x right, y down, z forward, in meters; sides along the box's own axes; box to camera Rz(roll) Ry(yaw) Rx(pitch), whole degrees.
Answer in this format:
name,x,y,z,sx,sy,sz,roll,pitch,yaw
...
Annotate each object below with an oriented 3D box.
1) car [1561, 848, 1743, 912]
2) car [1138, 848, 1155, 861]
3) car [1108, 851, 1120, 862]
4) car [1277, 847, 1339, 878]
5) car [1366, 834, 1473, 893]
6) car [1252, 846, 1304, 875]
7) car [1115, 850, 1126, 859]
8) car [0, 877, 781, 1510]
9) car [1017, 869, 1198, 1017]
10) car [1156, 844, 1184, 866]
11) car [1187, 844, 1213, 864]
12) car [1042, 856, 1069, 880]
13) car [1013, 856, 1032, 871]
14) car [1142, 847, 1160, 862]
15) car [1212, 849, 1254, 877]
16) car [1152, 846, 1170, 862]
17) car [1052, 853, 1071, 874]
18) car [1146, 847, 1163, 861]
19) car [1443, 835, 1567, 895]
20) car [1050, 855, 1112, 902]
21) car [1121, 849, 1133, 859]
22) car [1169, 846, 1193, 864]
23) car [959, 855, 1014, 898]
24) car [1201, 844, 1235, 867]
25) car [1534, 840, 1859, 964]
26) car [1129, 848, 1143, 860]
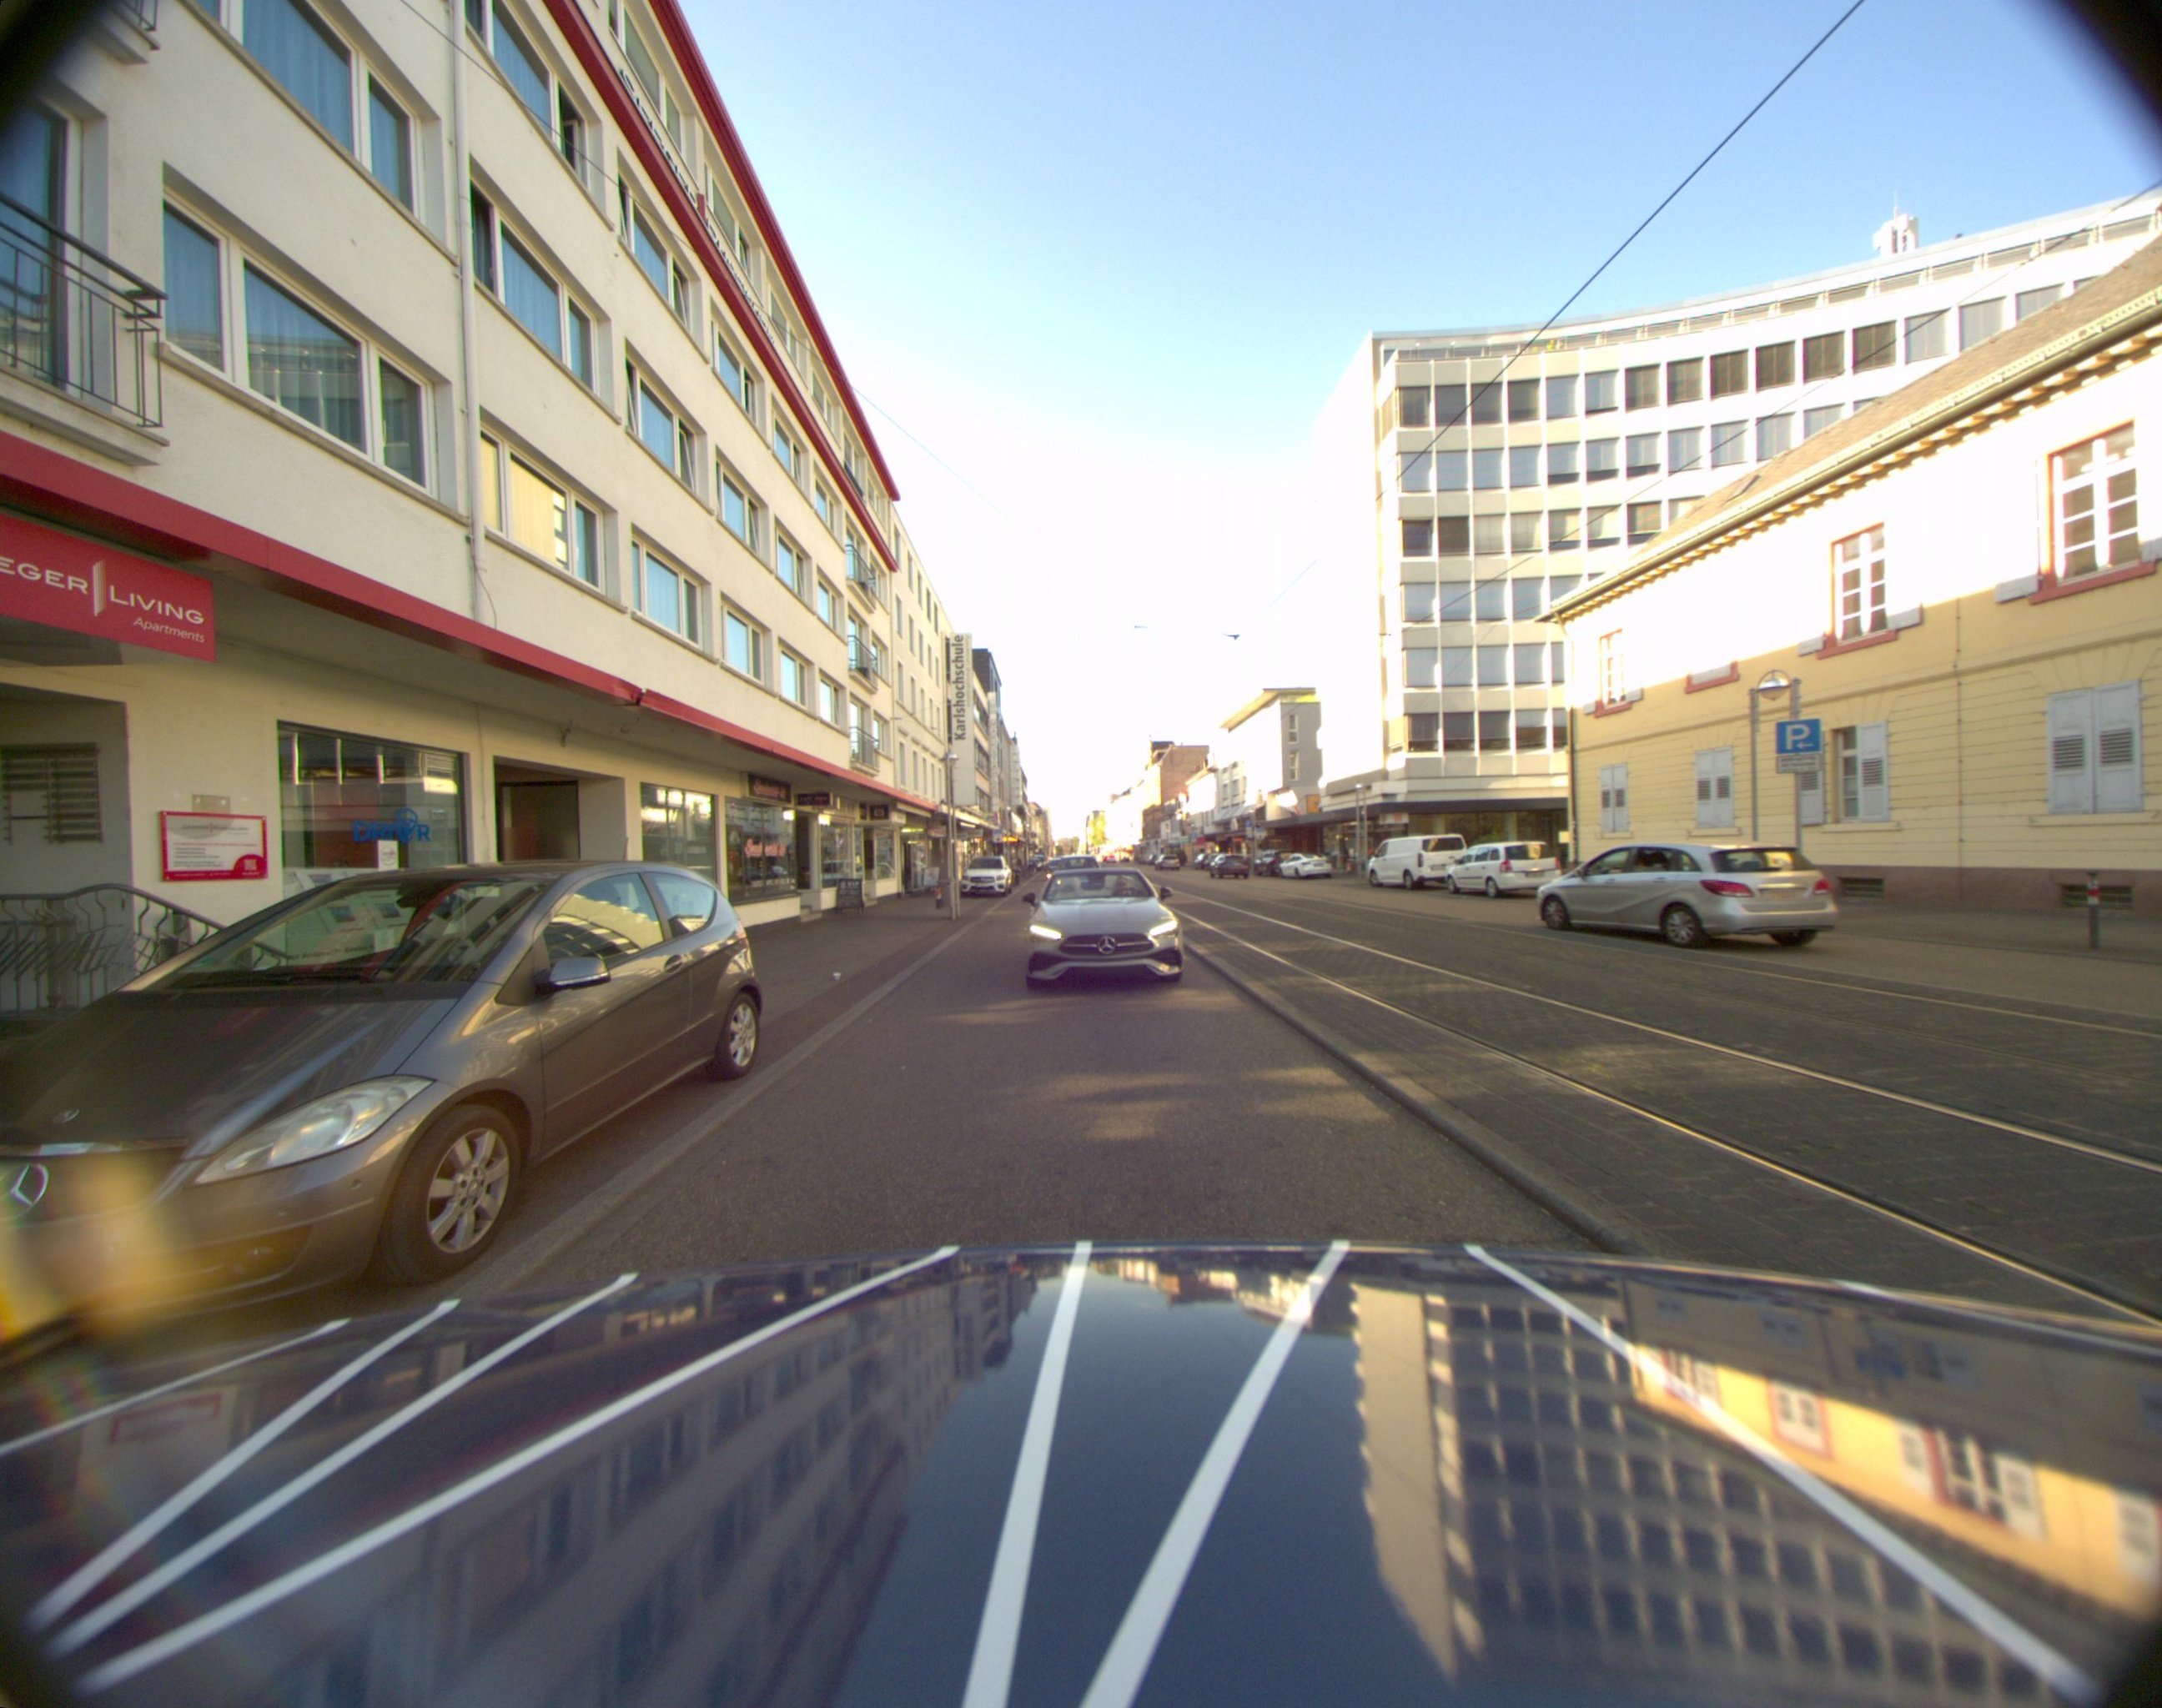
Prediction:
name,x,y,z,sx,sy,sz,roll,pitch,yaw
car,12.900,0.526,17.417,1.688,1.246,3.212,-2,1,-1
car,10.544,0.147,122.030,1.999,2.002,5.320,-1,0,-2
car,6.557,0.430,150.723,1.999,2.002,3.998,-2,1,-2
car,12.547,0.431,42.257,1.999,1.521,4.373,-2,1,-1
car,12.679,0.317,28.833,2.040,2.002,4.621,-1,0,1
car,12.322,0.370,47.688,1.999,1.694,4.107,-3,1,-2
car,9.088,0.097,176.840,2.148,1.850,3.998,-2,1,-2
car,-3.196,0.972,3.979,1.683,1.537,3.999,-2,0,-1
car,0.143,0.973,10.048,1.884,1.375,3.998,-2,1,-4
car,8.263,0.060,70.801,1.914,1.883,3.855,-2,1,-2
car,11.617,-0.007,74.324,1.789,1.870,3.999,-1,0,-2
car,-1.691,0.906,50.799,1.648,1.506,3.844,-2,0,-2
car,-6.125,0.951,80.215,1.714,1.430,3.756,-2,1,-1
car,10.008,0.019,109.526,1.999,2.002,3.998,-2,1,-2
car,9.144,0.494,45.975,1.964,1.499,4.000,-2,1,4
car,10.591,-0.008,101.304,1.998,2.002,4.000,-1,0,1
car,-1.655,0.807,64.789,1.573,1.670,3.688,-2,1,-1
car,11.040,-0.050,114.193,1.999,2.002,3.998,-2,1,-2
car,12.718,0.276,23.077,1.641,1.600,4.005,-2,1,3
car,-0.077,0.824,27.761,1.927,1.533,3.998,-2,0,-4
car,9.529,-0.059,157.289,1.999,2.002,3.999,-1,0,-2
car,11.800,0.161,90.141,2.200,2.030,3.999,-1,0,-1
car,-3.852,0.895,31.721,1.999,1.620,3.998,-1,0,-4
car,11.957,0.080,66.527,1.999,1.849,3.998,-2,1,-2
car,9.273,0.624,11.959,1.760,1.587,3.999,-1,0,-2
car,9.880,-0.033,137.461,1.999,2.002,3.999,-1,0,-2
